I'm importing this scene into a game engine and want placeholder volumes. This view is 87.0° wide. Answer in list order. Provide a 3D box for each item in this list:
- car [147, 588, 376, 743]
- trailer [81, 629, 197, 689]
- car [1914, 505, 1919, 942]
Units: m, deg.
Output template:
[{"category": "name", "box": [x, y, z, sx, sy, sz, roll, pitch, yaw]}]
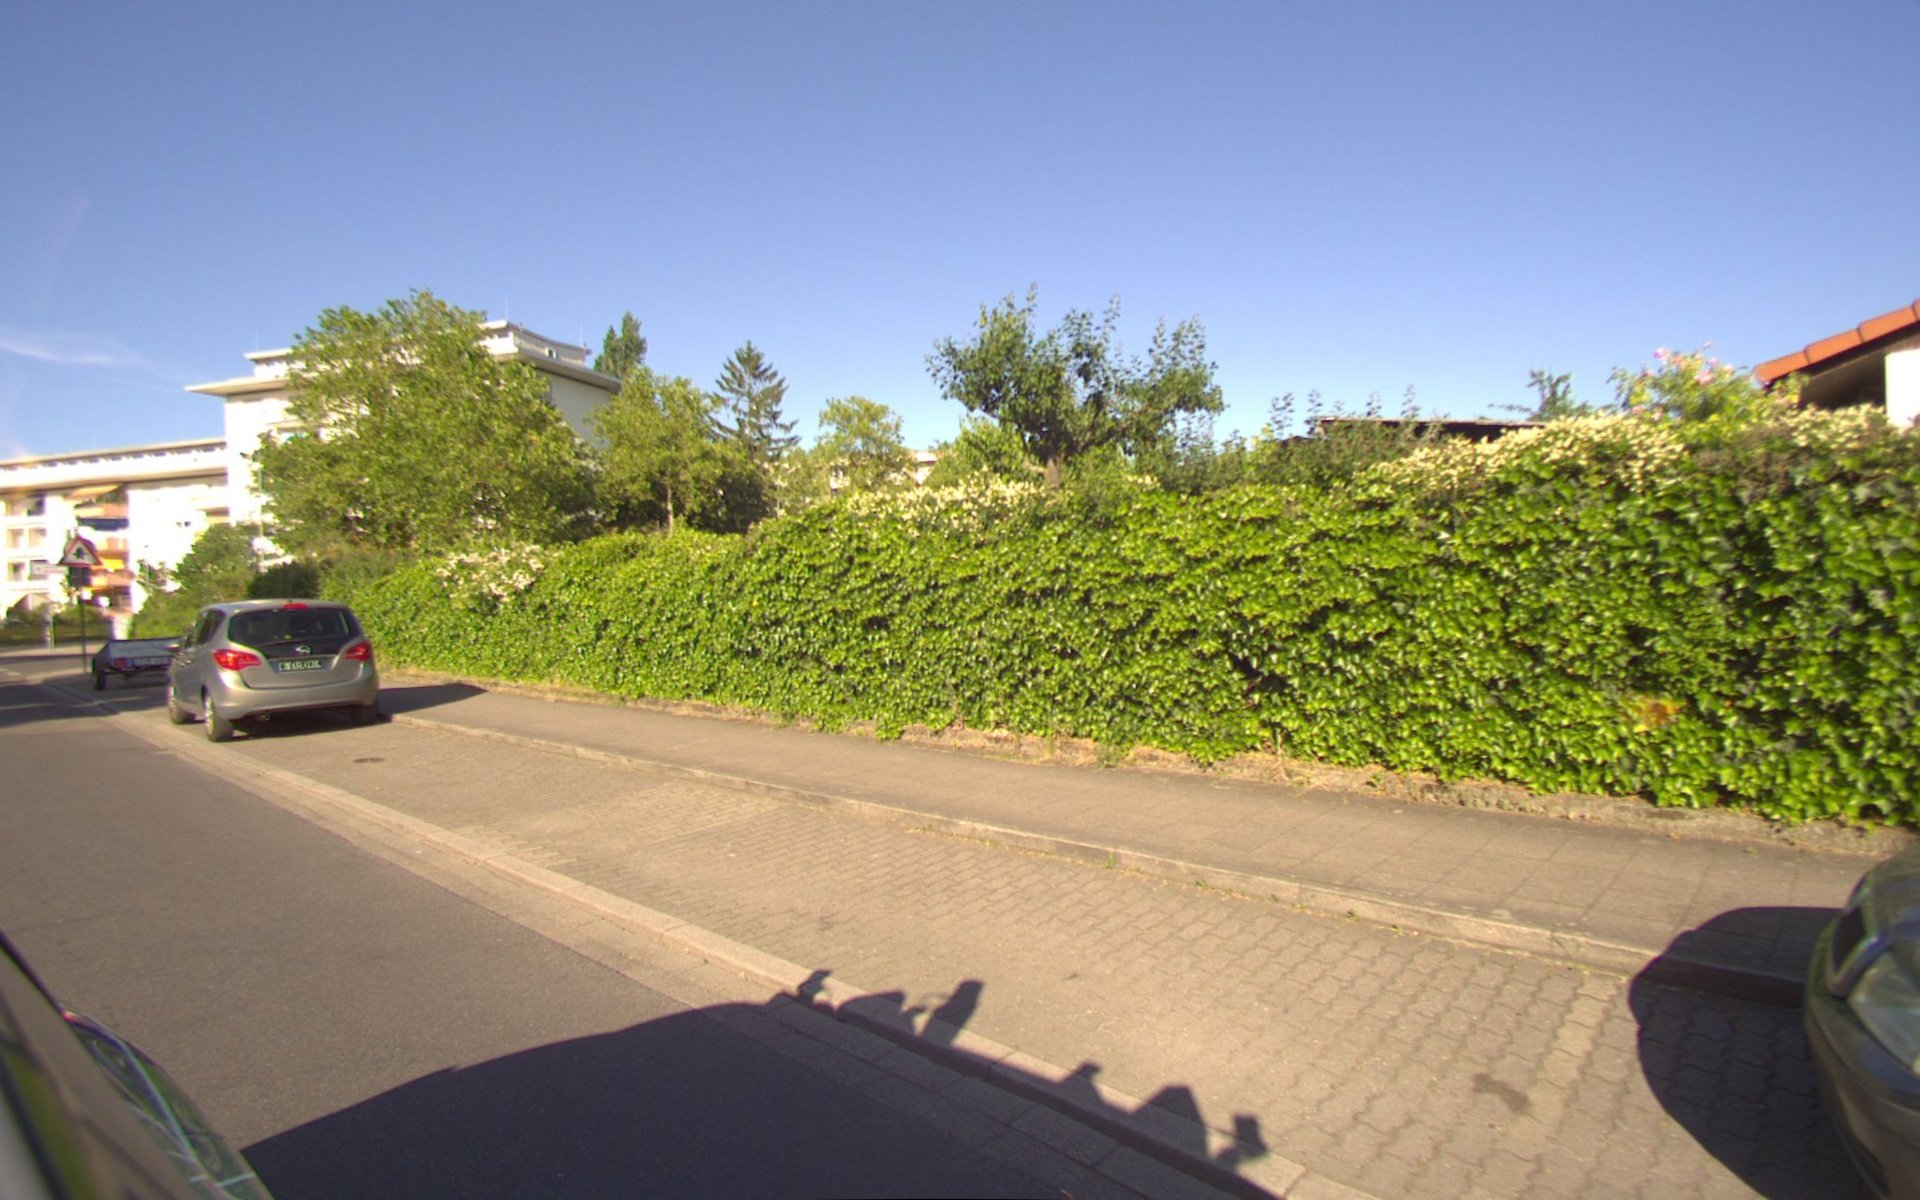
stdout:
[{"category": "car", "box": [-9.128, 0.722, 13.069, 1.625, 1.611, 4.314, -4, 3, -45]}, {"category": "trailer", "box": [-16.526, 1.152, 20.347, 1.526, 0.960, 2.649, -4, 3, -44]}, {"category": "car", "box": [3.884, 0.558, 0.867, 4.418, 1.567, 1.626, -1, 4, 43]}]
